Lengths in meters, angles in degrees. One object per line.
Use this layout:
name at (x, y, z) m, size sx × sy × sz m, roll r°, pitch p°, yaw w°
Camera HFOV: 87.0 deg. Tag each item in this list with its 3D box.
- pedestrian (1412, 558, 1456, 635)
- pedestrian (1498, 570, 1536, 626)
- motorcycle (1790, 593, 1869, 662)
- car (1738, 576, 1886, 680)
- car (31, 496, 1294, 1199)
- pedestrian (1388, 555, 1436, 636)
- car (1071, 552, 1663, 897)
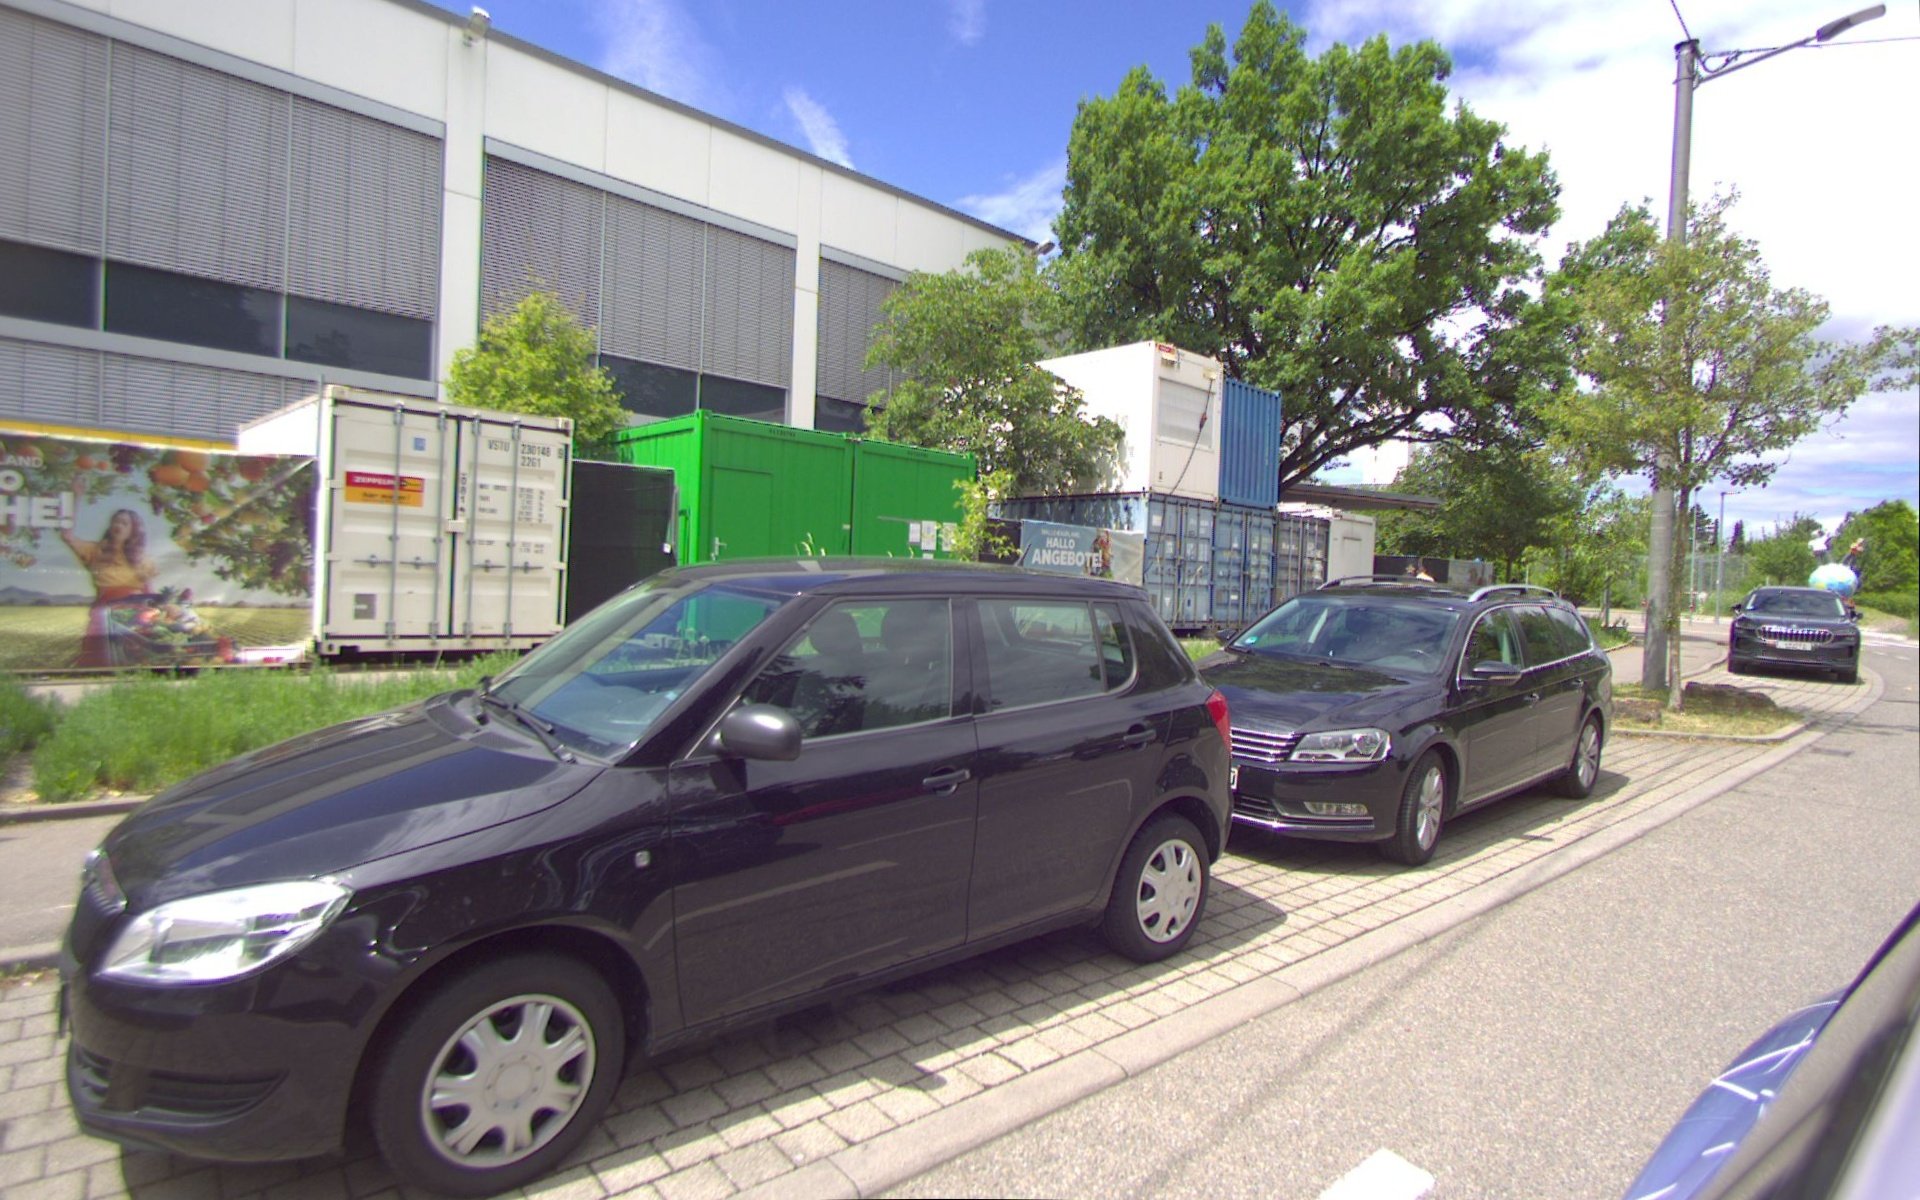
pedestrian at (10.942, -0.092, 23.346) m, size 0.712 × 1.717 × 0.651 m, roll 0°, pitch 2°, yaw -43°
pedestrian at (16.582, -0.073, 30.133) m, size 0.754 × 1.638 × 0.744 m, roll 0°, pitch 2°, yaw -43°
motorcycle at (18.883, 0.564, 22.037) m, size 1.069 × 1.321 × 2.230 m, roll 6°, pitch 4°, yaw 37°
car at (16.235, 0.425, 19.404) m, size 1.877 × 1.641 × 4.778 m, roll 5°, pitch 4°, yaw 39°
car at (-0.614, 0.520, 3.640) m, size 3.929 × 1.511 × 1.572 m, roll 0°, pitch 3°, yaw -40°
pedestrian at (9.927, -0.104, 22.211) m, size 0.830 × 1.718 × 0.652 m, roll 0°, pitch 2°, yaw -43°
car at (3.066, 0.536, 6.937) m, size 4.852 × 1.494 × 1.768 m, roll 0°, pitch 5°, yaw -43°
